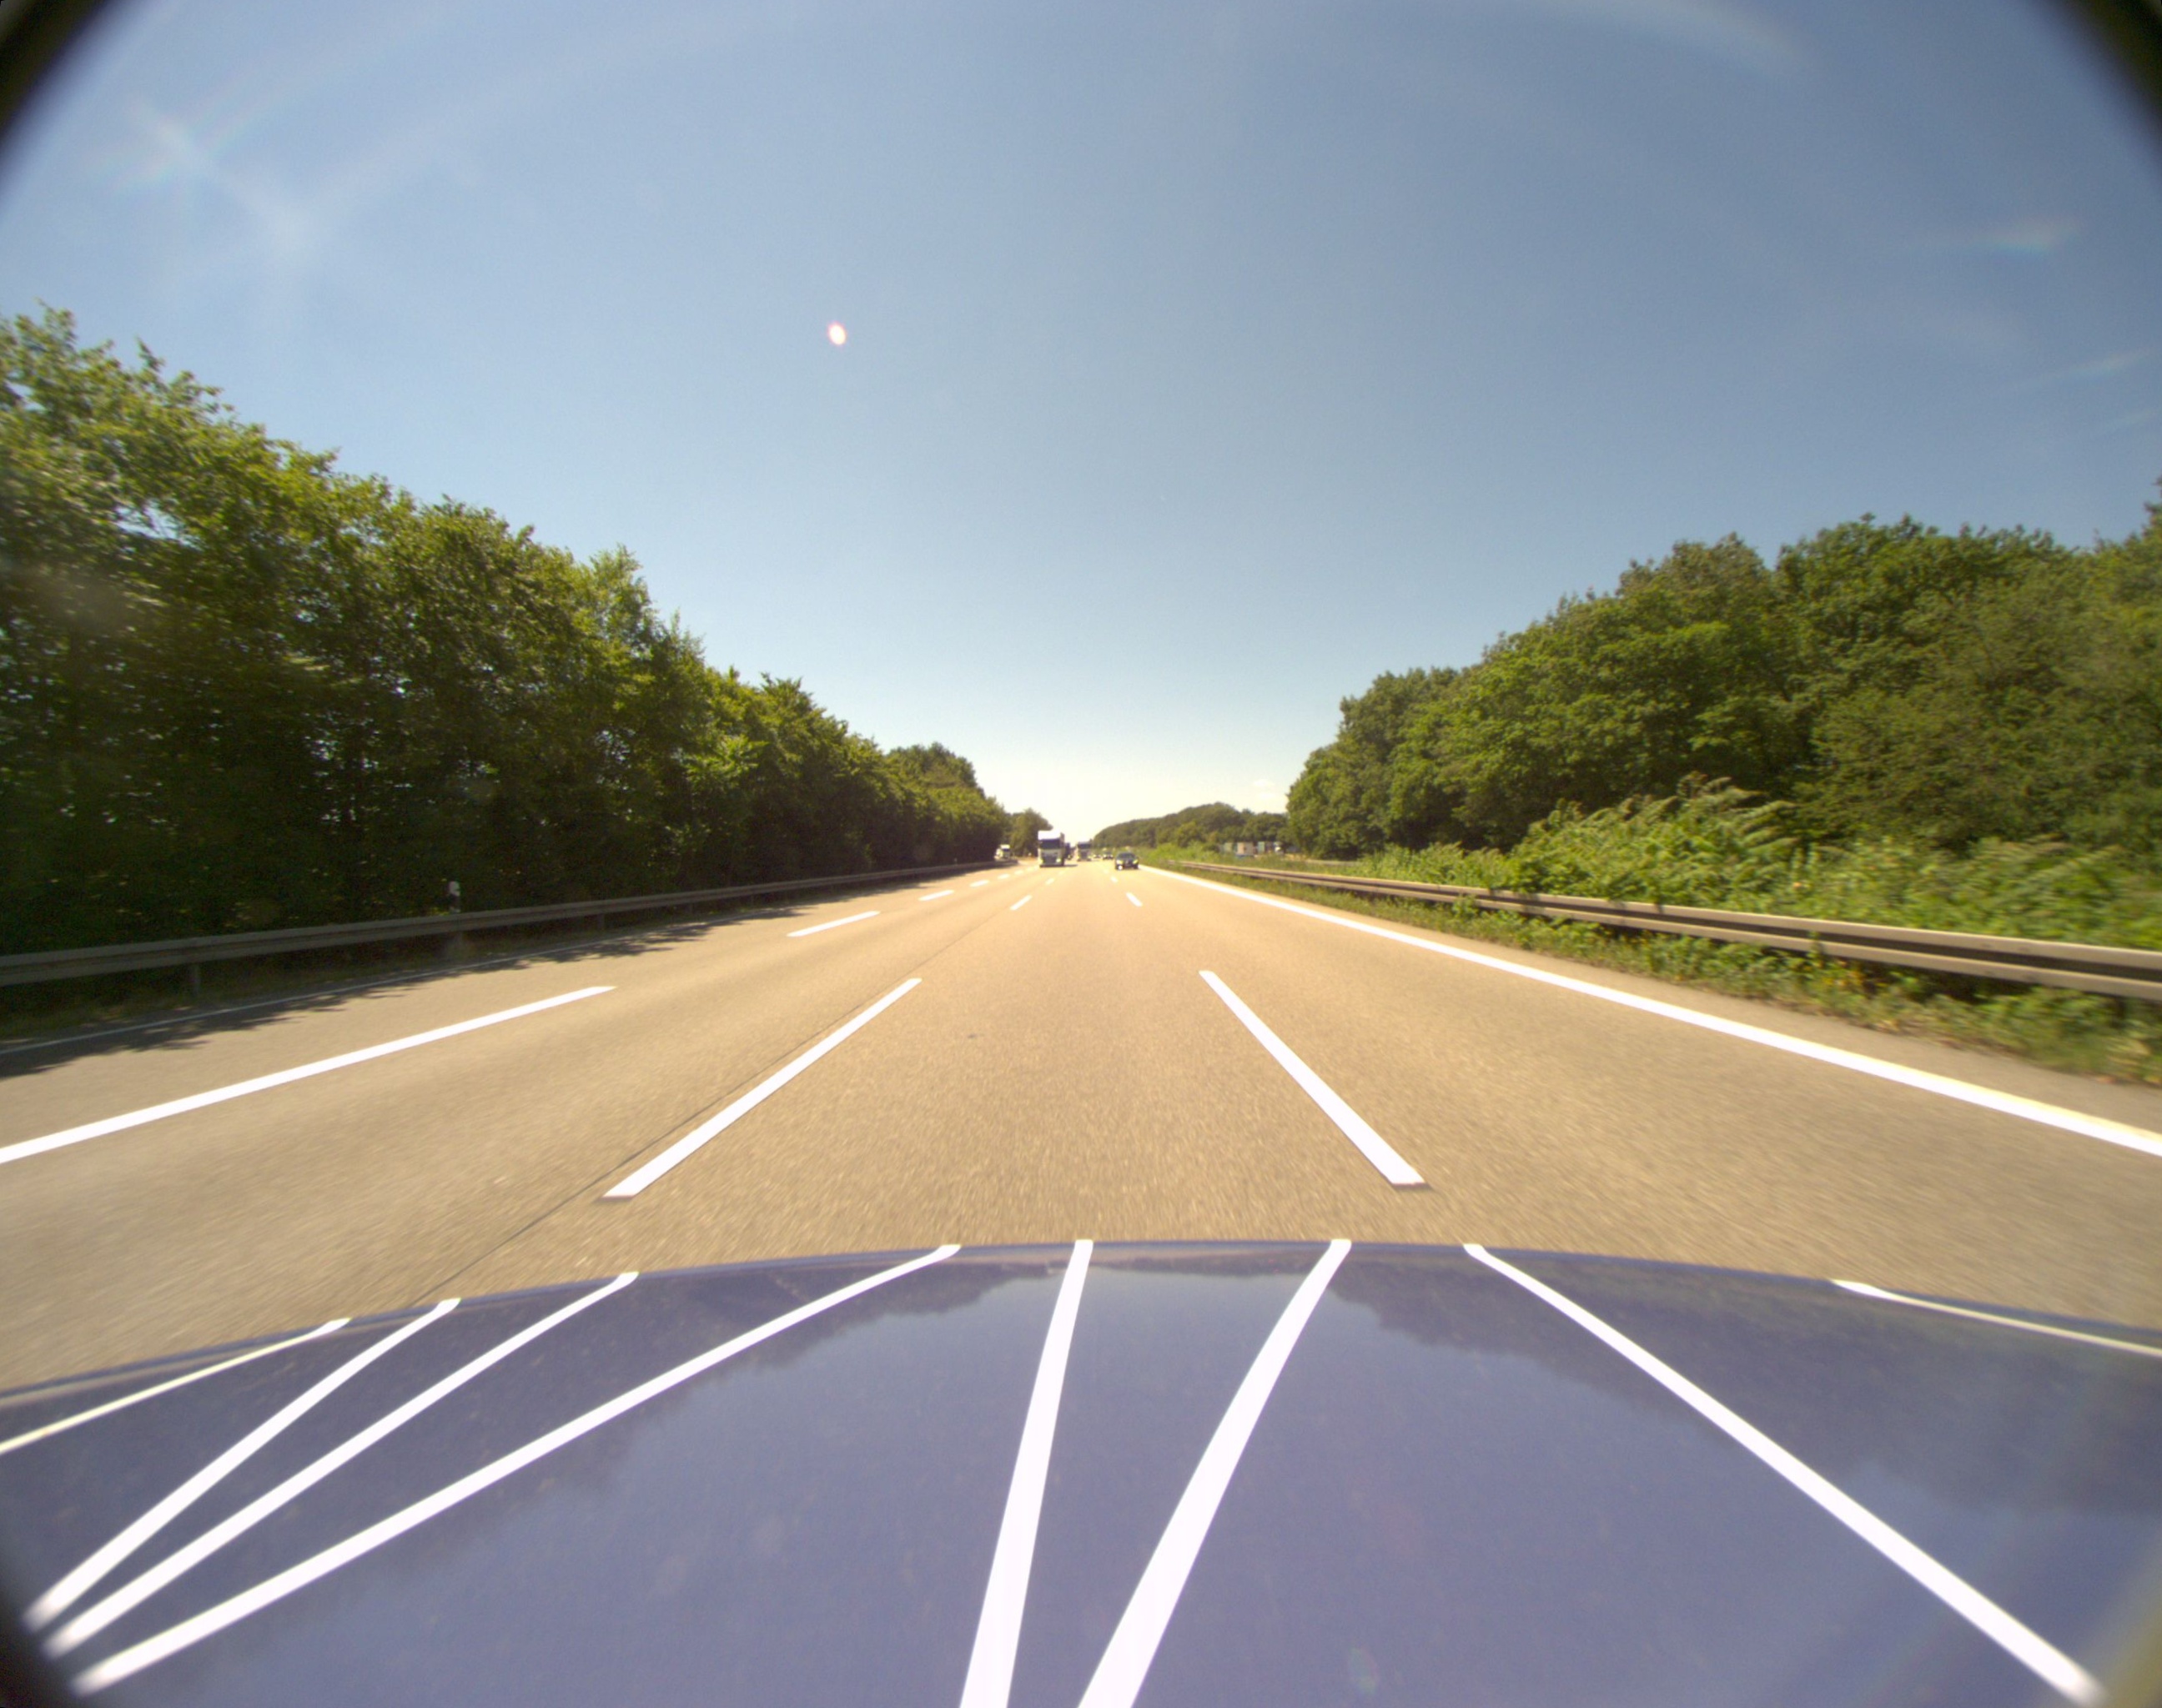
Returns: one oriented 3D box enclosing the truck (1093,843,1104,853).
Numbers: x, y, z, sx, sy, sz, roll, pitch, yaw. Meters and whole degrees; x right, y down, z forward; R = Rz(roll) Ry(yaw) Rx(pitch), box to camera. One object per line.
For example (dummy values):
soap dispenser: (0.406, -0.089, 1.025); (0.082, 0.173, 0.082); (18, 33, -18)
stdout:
truck: (4.194, -1.441, 183.863); (2.576, 2.461, 5.614); (-2, 1, 0)

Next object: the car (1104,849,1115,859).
car: (5.085, -0.046, 135.381); (1.806, 1.774, 3.999); (-1, 1, 1)

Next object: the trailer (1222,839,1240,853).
trailer: (49.998, -2.668, 253.554); (3.610, 4.565, 14.023); (0, 0, 1)

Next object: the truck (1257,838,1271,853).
truck: (58.244, -2.736, 241.840); (3.608, 4.565, 6.599); (0, 1, 5)

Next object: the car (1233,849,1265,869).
car: (13.593, 0.373, 61.584); (1.719, 1.554, 4.000); (0, 1, 0)

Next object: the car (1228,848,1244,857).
car: (27.554, -0.284, 135.326); (1.976, 1.585, 3.999); (-3, 1, 0)

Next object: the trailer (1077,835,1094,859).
trailer: (0.764, -1.280, 138.694); (2.863, 4.247, 11.470); (-2, 1, 0)

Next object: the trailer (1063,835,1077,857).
trailer: (-2.283, -1.676, 158.324); (2.864, 4.247, 11.469); (-1, 1, -1)

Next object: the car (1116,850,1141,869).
car: (3.924, 0.436, 63.606); (1.811, 1.399, 3.999); (-2, 1, 0)

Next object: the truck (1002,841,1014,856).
truck: (-23.204, -1.689, 239.660); (3.394, 4.437, 7.384); (-2, 1, -7)

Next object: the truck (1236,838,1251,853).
truck: (46.900, -2.510, 219.078); (3.222, 4.112, 7.394); (-2, 1, 5)

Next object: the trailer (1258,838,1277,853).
trailer: (57.498, -2.687, 234.573); (3.608, 4.565, 14.028); (0, 0, 6)

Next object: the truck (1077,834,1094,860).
truck: (0.763, -1.215, 131.971); (2.863, 4.247, 5.410); (-2, 1, 0)

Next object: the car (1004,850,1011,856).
car: (-22.056, -0.385, 227.947); (1.999, 1.700, 4.677); (1, 0, -4)

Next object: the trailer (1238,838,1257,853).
trailer: (46.178, -2.406, 211.236); (3.222, 4.112, 14.054); (-2, 1, 5)

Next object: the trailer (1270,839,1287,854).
trailer: (51.420, -2.006, 197.876); (3.606, 3.634, 14.035); (0, 0, 12)

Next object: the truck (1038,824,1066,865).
truck: (-3.211, -1.064, 86.032); (2.864, 4.247, 6.862); (-2, 1, -1)
